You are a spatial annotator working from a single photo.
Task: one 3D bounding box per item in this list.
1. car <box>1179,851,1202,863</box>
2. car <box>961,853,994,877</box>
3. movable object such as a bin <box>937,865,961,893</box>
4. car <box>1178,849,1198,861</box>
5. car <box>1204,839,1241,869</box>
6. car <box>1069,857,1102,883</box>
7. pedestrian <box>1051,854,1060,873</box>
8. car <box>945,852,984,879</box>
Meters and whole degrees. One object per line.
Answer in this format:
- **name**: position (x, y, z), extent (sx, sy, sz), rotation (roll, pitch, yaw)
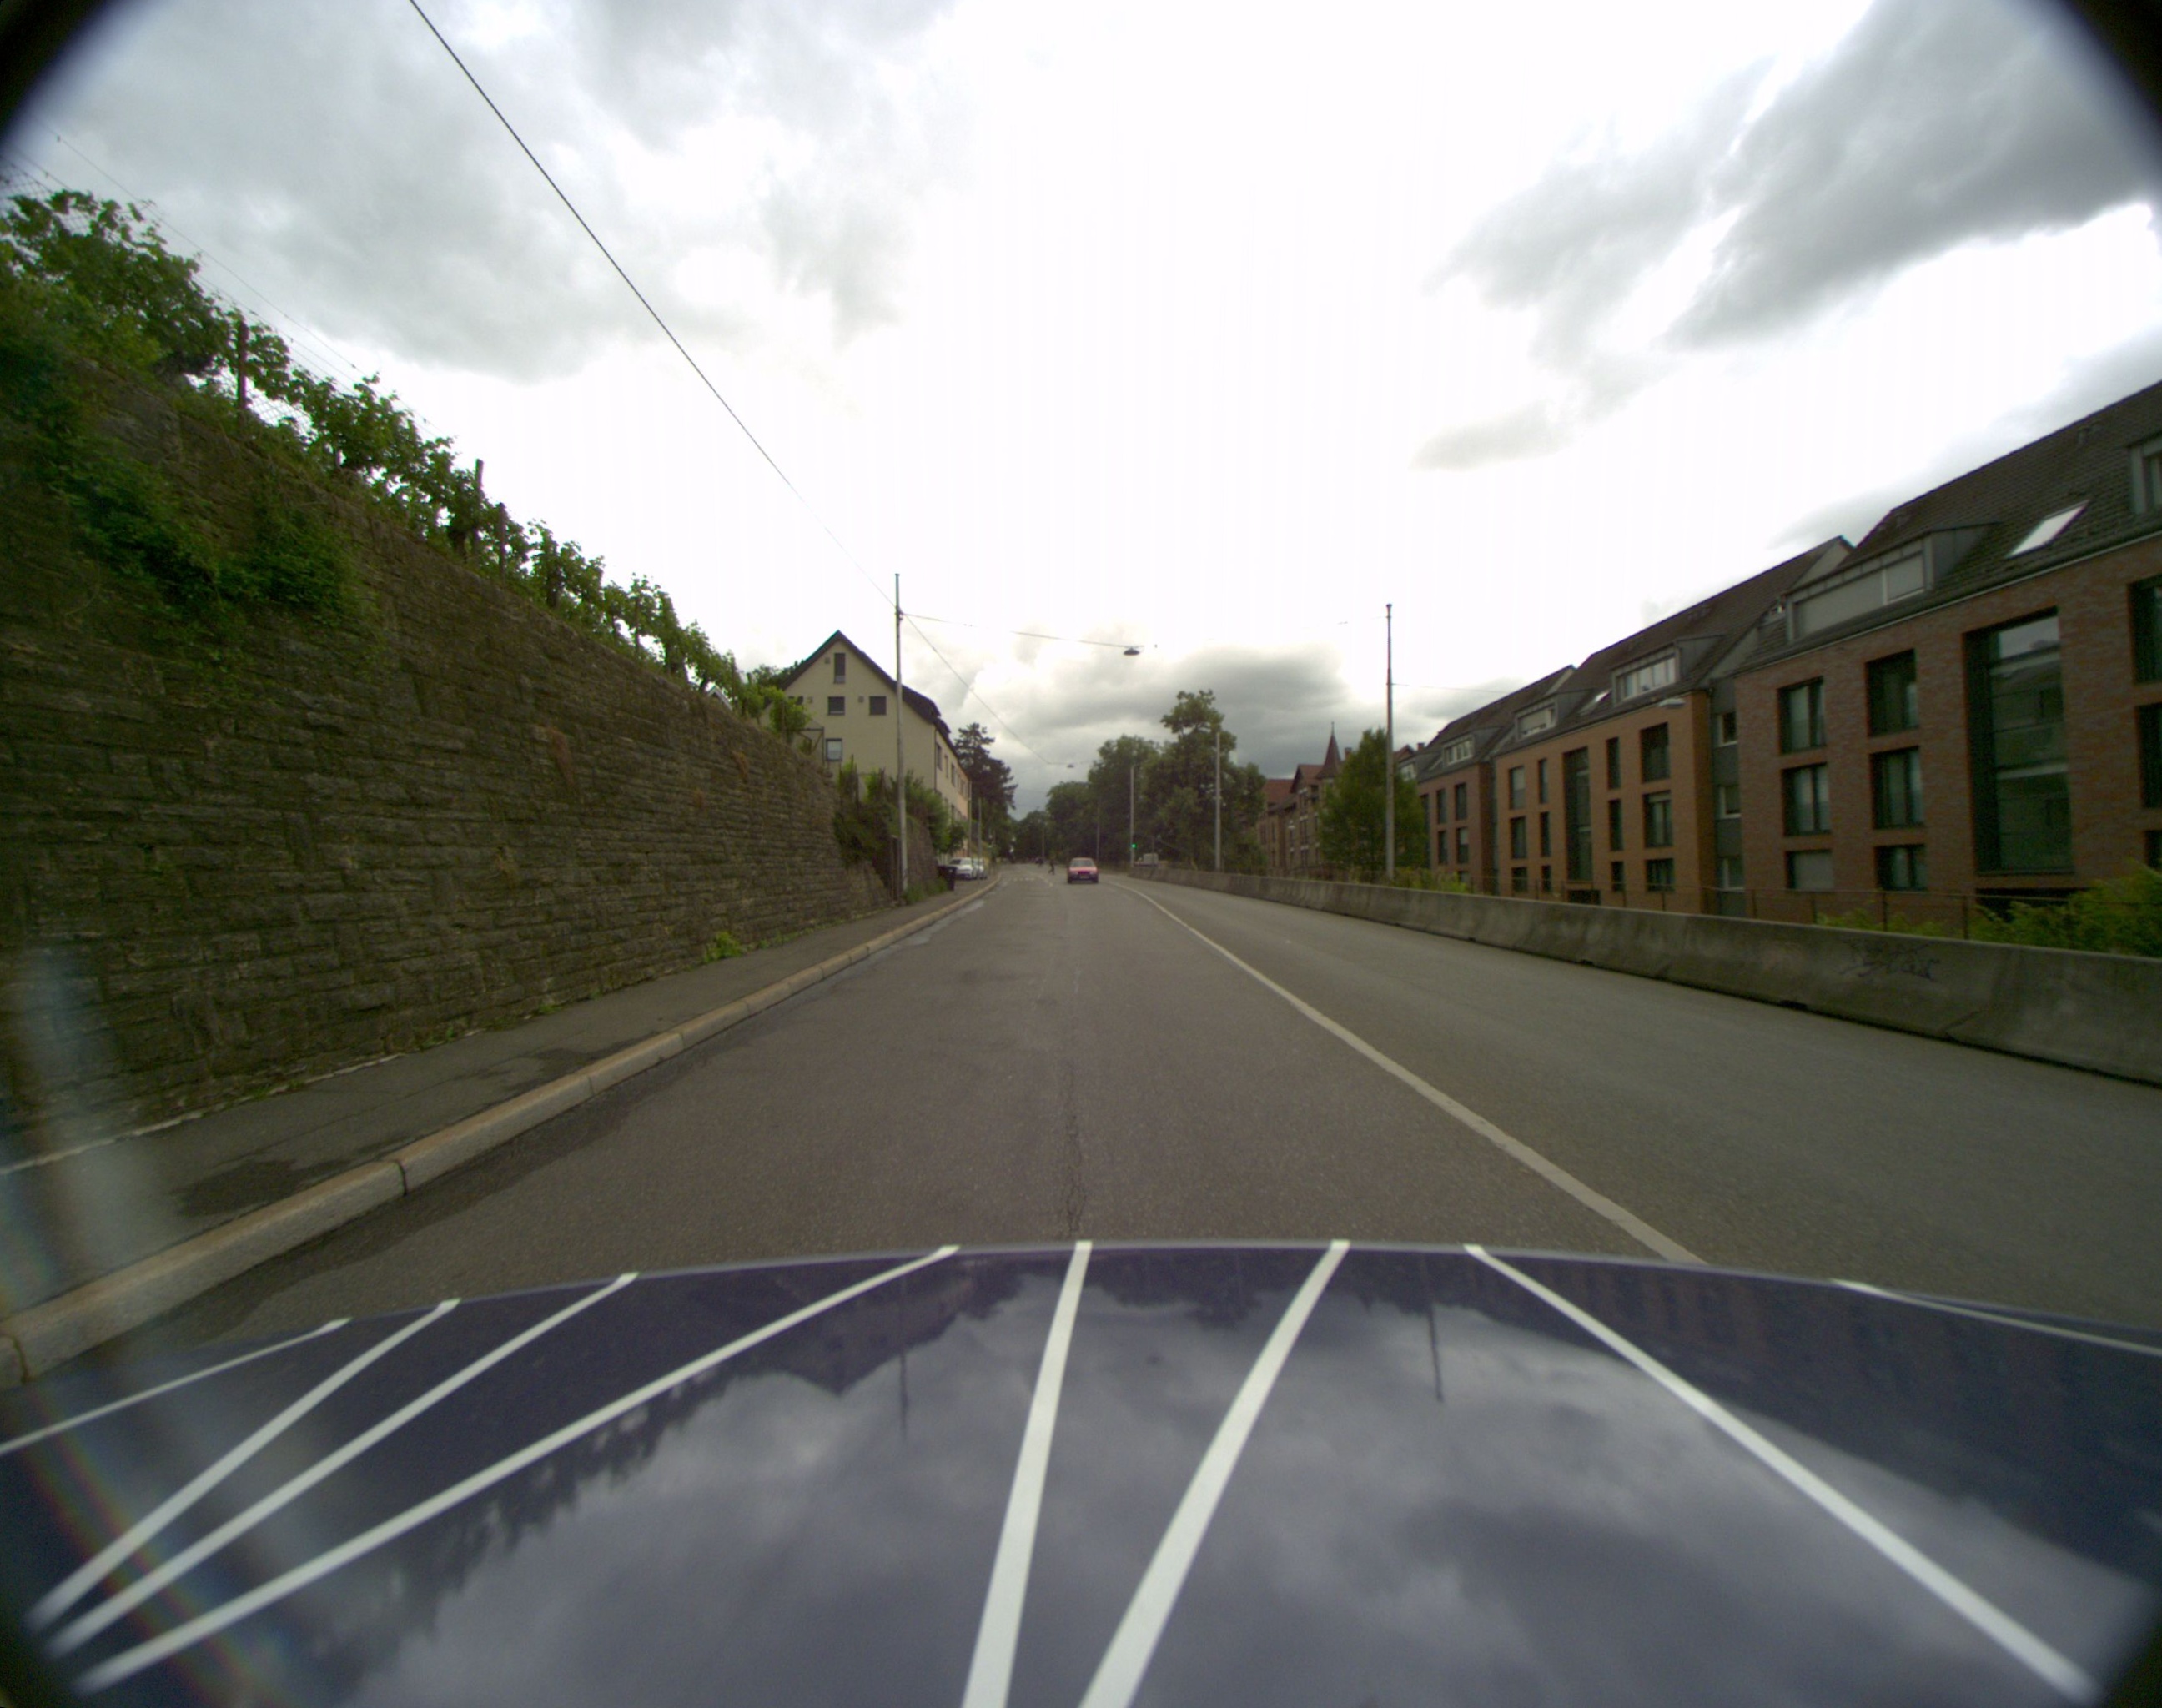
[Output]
- **car**: position (12.812, 0.370, 89.109), extent (1.999, 1.346, 4.000), rotation (0, 0, 0)
- **car**: position (-7.192, 0.734, 53.240), extent (1.732, 1.566, 4.248), rotation (-2, 1, -1)
- **movable object such as a bin**: position (-5.491, 1.047, 31.646), extent (0.811, 1.120, 0.874), rotation (-1, 1, -2)
- **car**: position (14.122, 0.105, 100.237), extent (1.998, 1.543, 4.000), rotation (-1, 0, 0)
- **car**: position (13.009, -0.062, 70.297), extent (2.565, 2.567, 5.735), rotation (-2, 1, 3)
- **car**: position (0.205, 0.902, 43.476), extent (1.646, 1.429, 3.999), rotation (-1, -1, -3)
- **pedestrian**: position (-2.274, 0.851, 67.696), extent (0.735, 1.702, 0.696), rotation (-1, 1, 2)
- **car**: position (-7.335, 0.703, 48.202), extent (1.799, 1.566, 4.054), rotation (-2, 1, -1)
